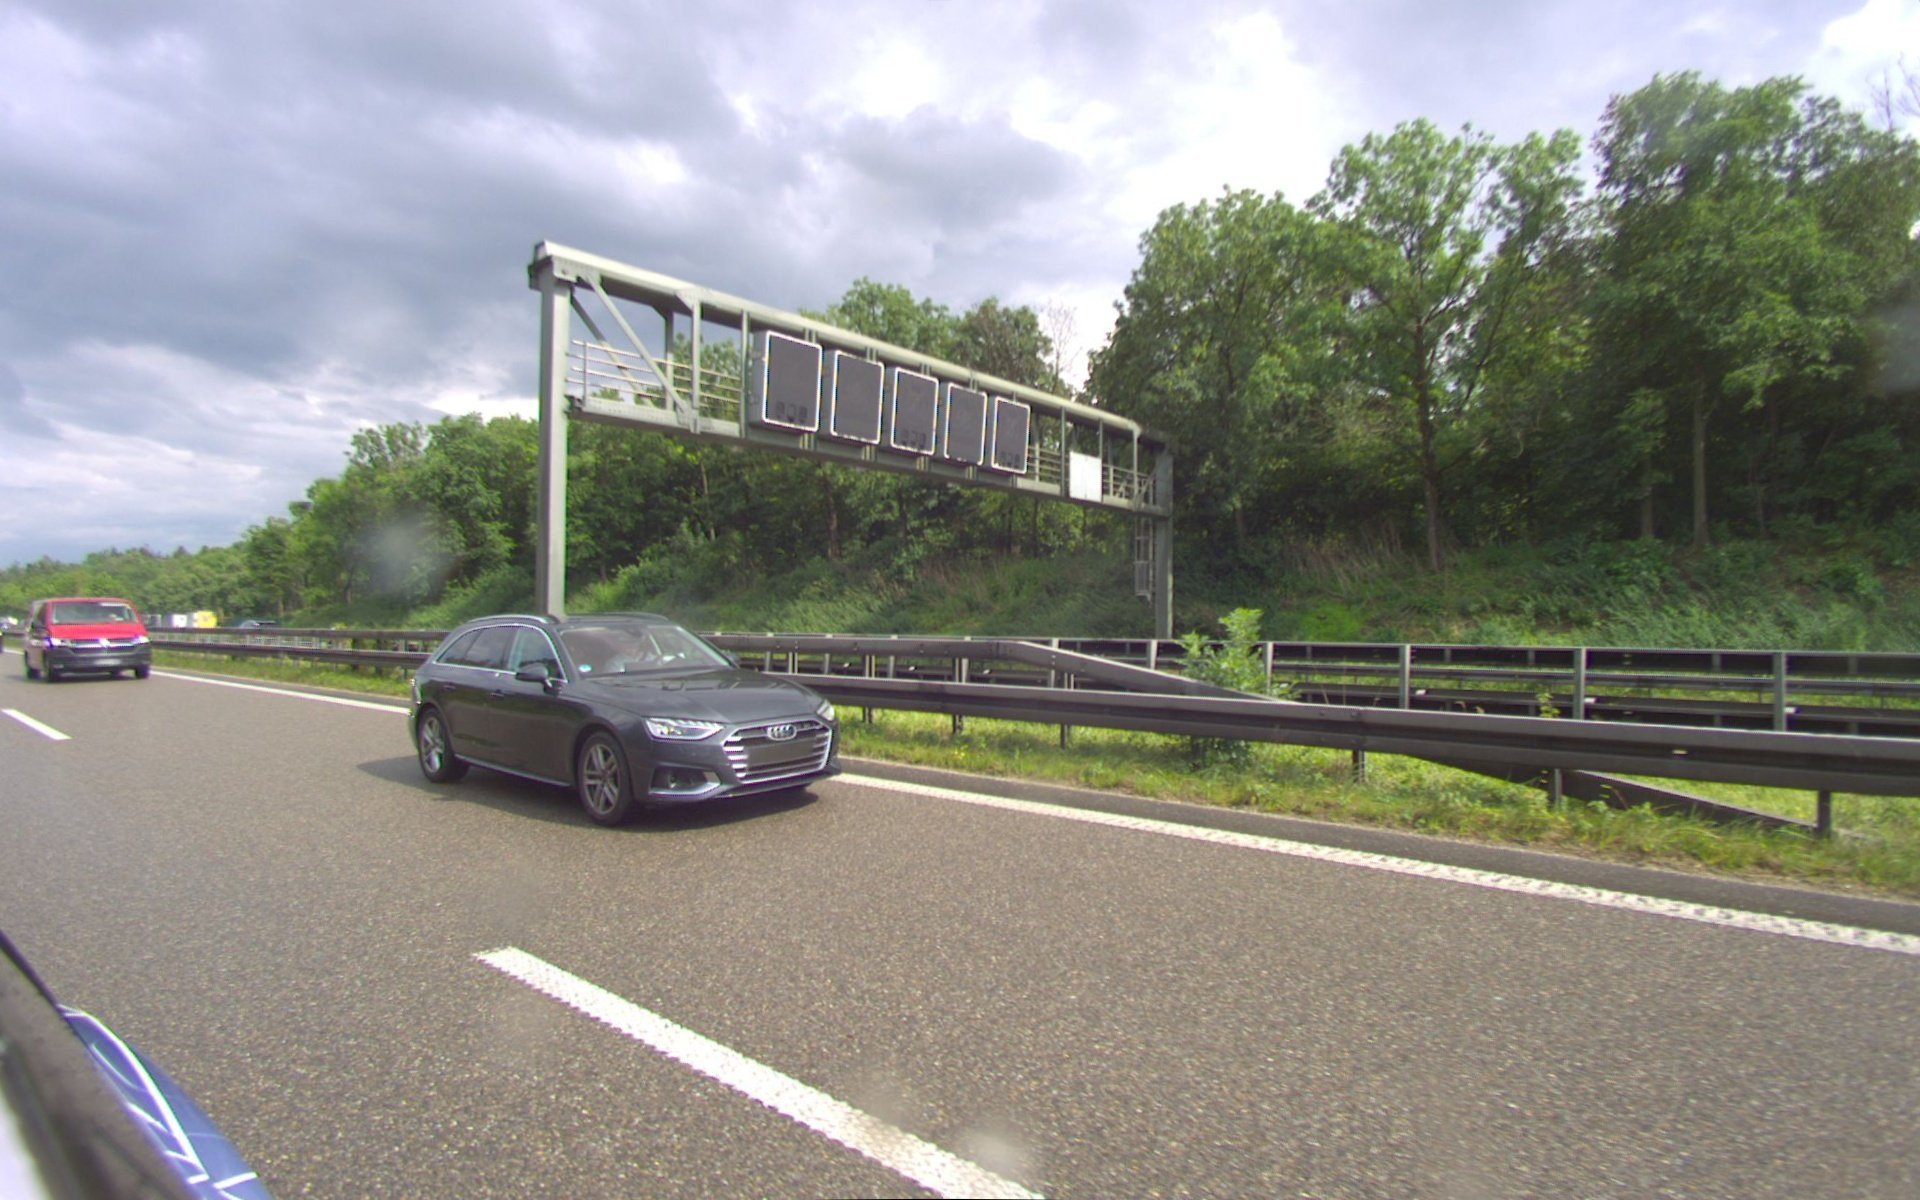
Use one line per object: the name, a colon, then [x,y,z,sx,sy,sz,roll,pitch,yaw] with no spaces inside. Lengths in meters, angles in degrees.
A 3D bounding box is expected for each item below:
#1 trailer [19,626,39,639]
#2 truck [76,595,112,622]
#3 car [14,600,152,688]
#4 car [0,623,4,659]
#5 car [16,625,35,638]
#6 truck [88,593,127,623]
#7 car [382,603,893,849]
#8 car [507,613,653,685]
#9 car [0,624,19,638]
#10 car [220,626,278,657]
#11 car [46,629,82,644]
trailer: [-130.682,4.551,142.061,3.877,1.675,1.569,-1,0,41]
truck: [-156.069,1.586,182.393,11.873,4.756,3.574,-1,0,43]
car: [-21.012,0.984,24.169,4.838,1.880,1.901,-1,0,42]
car: [-42.271,1.739,43.007,4.838,1.508,1.983,-1,0,42]
car: [-133.232,4.497,144.323,3.681,1.841,1.569,-1,0,41]
truck: [-143.107,1.377,169.784,11.873,4.756,3.574,-1,0,43]
car: [-2.874,0.773,8.257,4.838,1.429,1.775,-1,0,42]
car: [-9.749,1.182,25.811,4.110,1.675,1.748,-1,0,41]
car: [-124.621,4.022,132.362,4.234,1.675,1.835,-1,0,41]
car: [-42.130,2.433,59.933,4.234,1.675,1.835,-1,0,41]
car: [-73.609,2.995,83.127,3.999,1.136,1.807,-1,0,42]
